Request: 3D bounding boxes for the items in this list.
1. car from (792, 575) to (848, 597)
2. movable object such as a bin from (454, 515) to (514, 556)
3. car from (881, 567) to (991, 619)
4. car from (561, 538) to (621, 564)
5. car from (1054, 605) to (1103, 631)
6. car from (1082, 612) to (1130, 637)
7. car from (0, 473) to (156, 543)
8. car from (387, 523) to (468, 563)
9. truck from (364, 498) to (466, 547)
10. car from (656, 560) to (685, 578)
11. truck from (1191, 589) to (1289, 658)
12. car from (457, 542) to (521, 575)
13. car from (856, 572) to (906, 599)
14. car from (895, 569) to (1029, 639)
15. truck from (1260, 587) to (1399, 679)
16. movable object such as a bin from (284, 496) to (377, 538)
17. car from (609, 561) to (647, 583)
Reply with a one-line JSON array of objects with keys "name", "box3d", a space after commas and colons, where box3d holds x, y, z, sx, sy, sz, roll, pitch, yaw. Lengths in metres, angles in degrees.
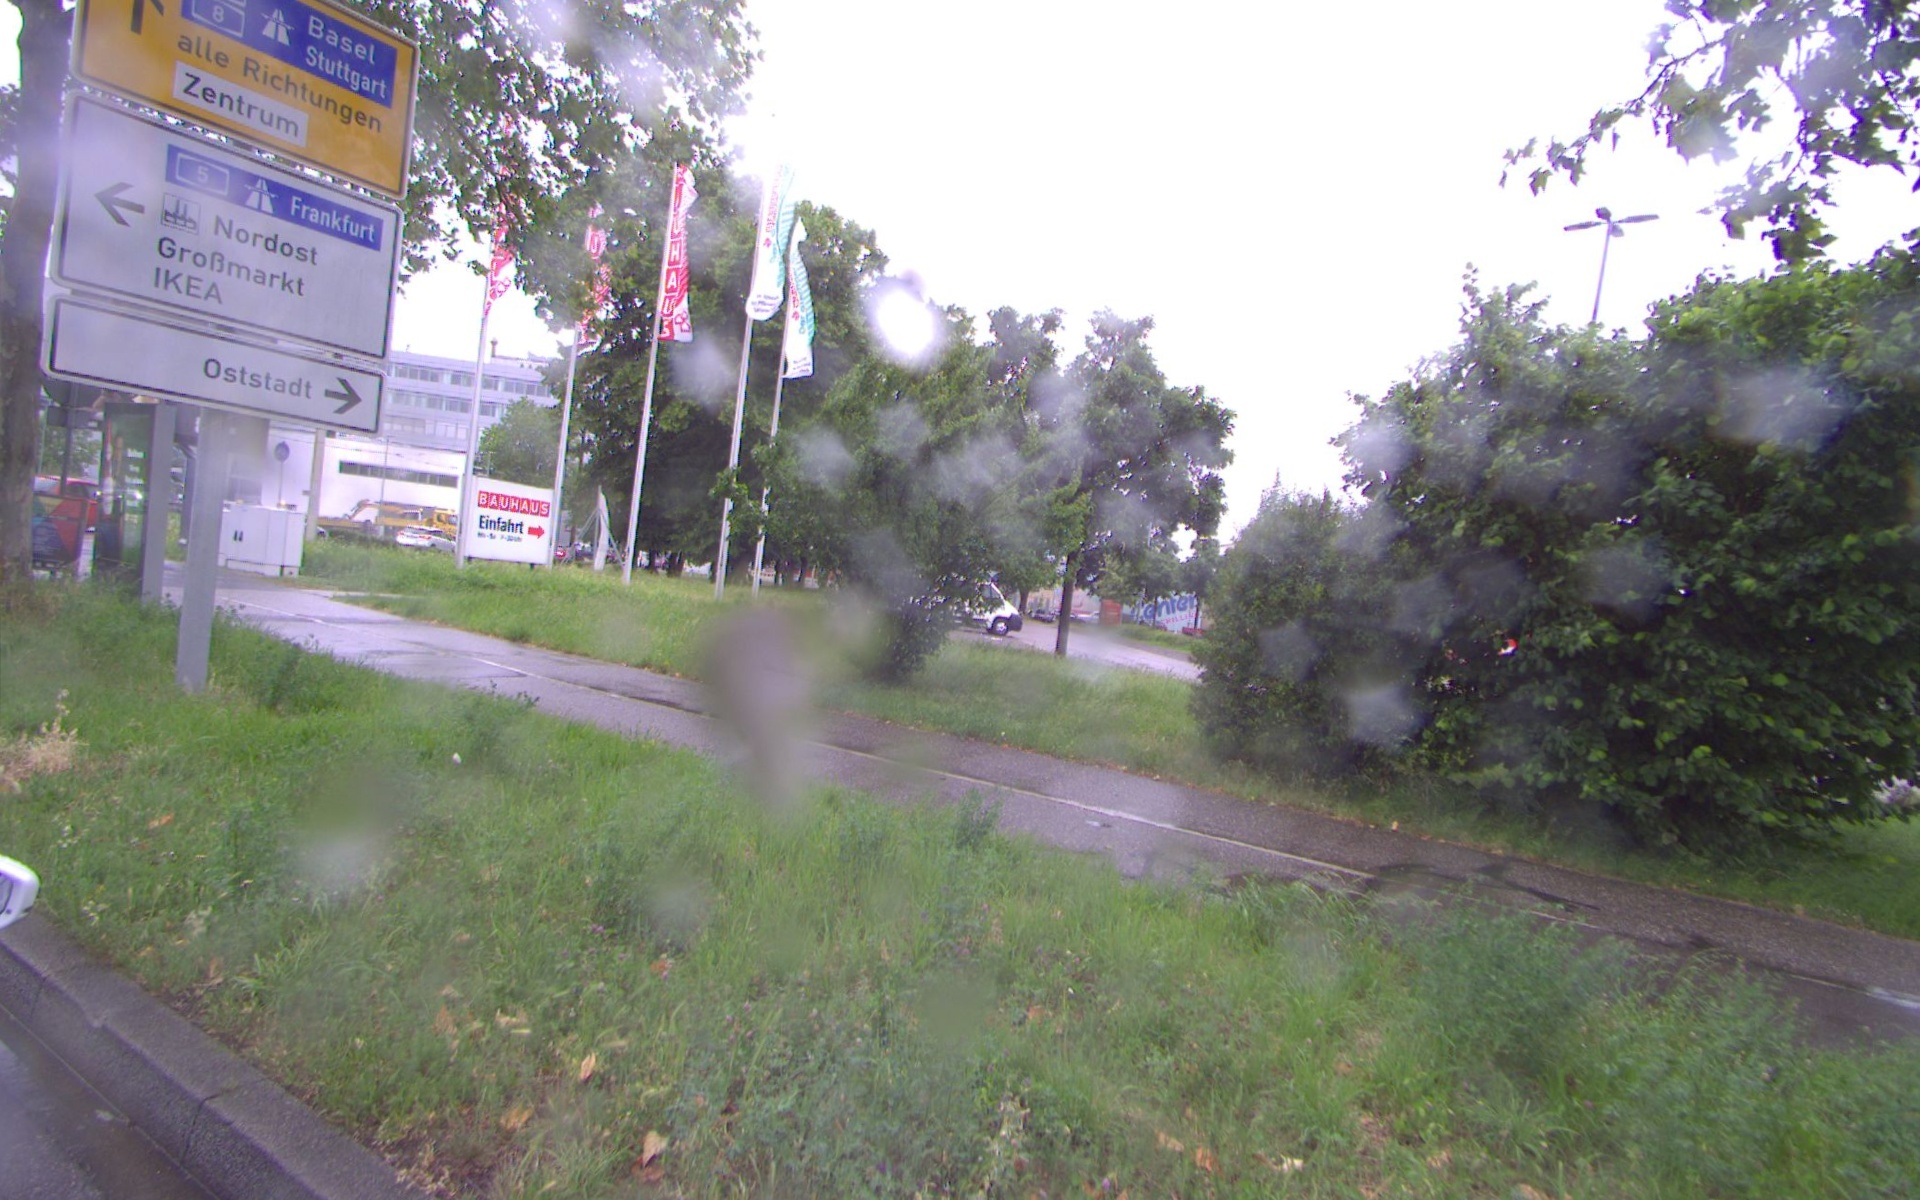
[{"name": "car", "box3d": [-15.407, -1.590, 111.059, 5.853, 1.754, 2.276, 6, 1, -3]}, {"name": "movable object such as a bin", "box3d": [-50.173, -6.726, 106.145, 3.268, 3.552, 6.316, 6, 1, -3]}, {"name": "car", "box3d": [-1.385, -0.411, 57.633, 5.955, 2.232, 2.190, 7, 1, -2]}, {"name": "car", "box3d": [-35.666, -4.737, 97.323, 4.969, 1.674, 1.881, 8, -2, -4]}, {"name": "car", "box3d": [11.927, 1.845, 101.763, 4.612, 2.038, 2.001, 7, 0, 3]}, {"name": "car", "box3d": [15.572, 2.622, 107.468, 4.612, 2.038, 2.001, 7, 0, 3]}, {"name": "car", "box3d": [-26.403, -2.710, 30.008, 1.647, 1.508, 3.817, 7, -1, 0]}, {"name": "car", "box3d": [-27.764, -2.951, 52.628, 1.892, 1.606, 4.623, 6, 0, -3]}, {"name": "truck", "box3d": [-52.666, -7.443, 97.327, 7.747, 3.552, 3.325, 7, 1, -4]}, {"name": "car", "box3d": [-31.584, -3.316, 109.861, 1.892, 1.606, 4.623, 6, 0, -4]}, {"name": "truck", "box3d": [16.527, 1.329, 60.292, 2.507, 3.511, 9.397, 8, 0, -2]}, {"name": "car", "box3d": [-28.678, -2.520, 61.417, 1.893, 1.606, 4.622, 6, 0, -4]}, {"name": "car", "box3d": [-7.848, -1.451, 100.582, 4.670, 2.241, 1.964, 6, 1, -2]}, {"name": "car", "box3d": [0.029, 0.153, 40.908, 5.015, 2.232, 2.188, 7, 1, -9]}, {"name": "truck", "box3d": [16.719, 1.335, 46.247, 2.508, 3.513, 8.008, 8, 1, -4]}, {"name": "movable object such as a bin", "box3d": [-60.581, -7.927, 97.004, 6.601, 3.034, 3.324, 7, 1, -4]}, {"name": "car", "box3d": [-29.336, -2.437, 89.044, 1.892, 1.606, 4.623, 6, 0, -4]}]
